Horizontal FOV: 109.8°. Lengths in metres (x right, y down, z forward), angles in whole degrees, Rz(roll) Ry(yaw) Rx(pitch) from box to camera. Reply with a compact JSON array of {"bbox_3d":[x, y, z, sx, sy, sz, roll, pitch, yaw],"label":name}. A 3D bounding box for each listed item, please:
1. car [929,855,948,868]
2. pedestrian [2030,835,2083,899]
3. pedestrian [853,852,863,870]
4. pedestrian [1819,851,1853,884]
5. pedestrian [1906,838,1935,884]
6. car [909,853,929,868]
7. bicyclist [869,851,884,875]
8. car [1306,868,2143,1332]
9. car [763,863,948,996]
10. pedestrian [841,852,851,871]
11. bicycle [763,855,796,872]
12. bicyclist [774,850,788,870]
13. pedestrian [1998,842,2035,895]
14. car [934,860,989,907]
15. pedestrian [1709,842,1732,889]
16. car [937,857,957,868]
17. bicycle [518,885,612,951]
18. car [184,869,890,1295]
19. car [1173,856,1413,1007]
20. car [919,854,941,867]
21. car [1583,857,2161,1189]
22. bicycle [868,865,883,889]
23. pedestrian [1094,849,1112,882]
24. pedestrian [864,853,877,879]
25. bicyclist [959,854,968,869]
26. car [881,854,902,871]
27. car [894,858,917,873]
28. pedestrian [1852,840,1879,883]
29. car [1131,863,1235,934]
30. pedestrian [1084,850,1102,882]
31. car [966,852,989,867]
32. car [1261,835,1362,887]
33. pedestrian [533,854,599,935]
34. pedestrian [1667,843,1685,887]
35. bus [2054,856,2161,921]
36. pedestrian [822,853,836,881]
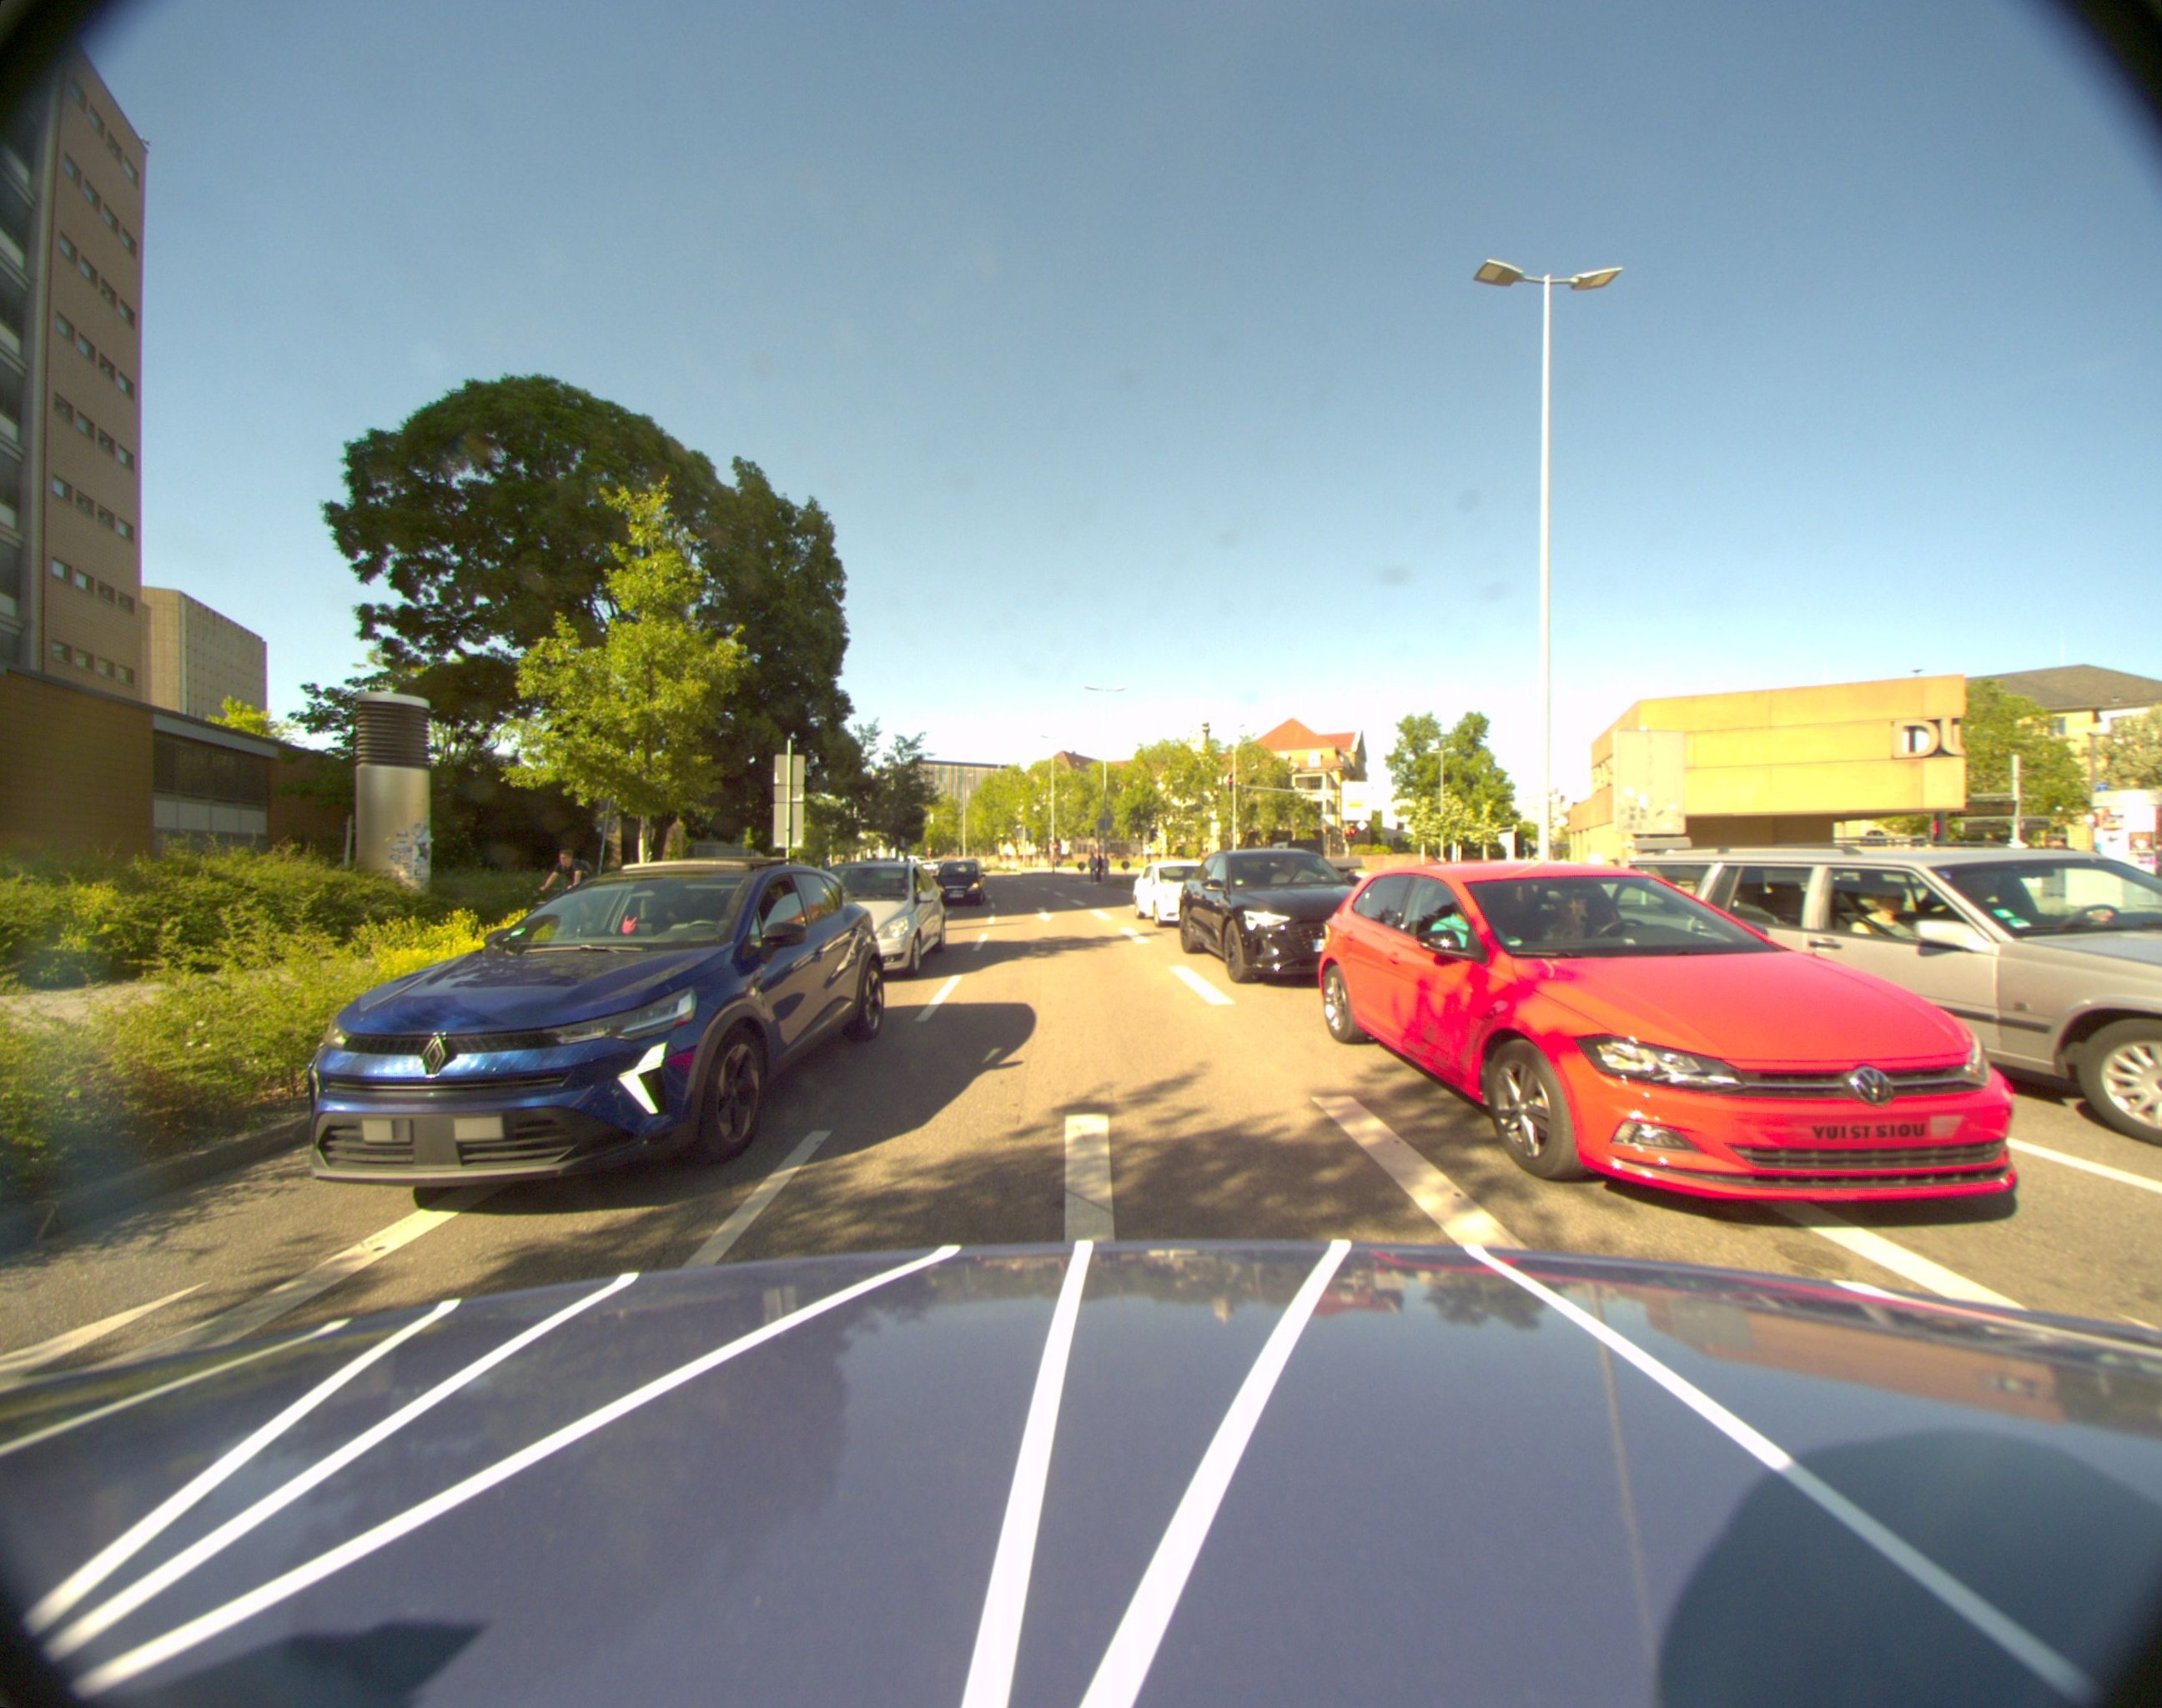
[{"bbox_3d":[-18.539,0.982,98.671,1.598,1.596,3.066,-1,0,-26],"label":"car"},{"bbox_3d":[28.221,0.371,21.988,0.645,1.778,0.667,-2,1,-1],"label":"pedestrian"},{"bbox_3d":[-23.725,0.741,80.821,0.823,1.906,0.770,-2,1,-29],"label":"pedestrian"},{"bbox_3d":[30.181,0.540,30.366,0.645,1.303,0.763,-1,0,10],"label":"pedestrian"},{"bbox_3d":[33.089,0.268,29.953,0.645,1.766,0.468,-1,0,-4],"label":"pedestrian"},{"bbox_3d":[-23.103,0.878,108.134,1.790,2.002,4.223,-2,1,-26],"label":"car"},{"bbox_3d":[-10.907,0.473,40.547,0.723,1.271,0.906,2,0,-17],"label":"bicyclist"},{"bbox_3d":[2.786,0.877,4.529,1.674,1.464,3.853,-2,0,-1],"label":"car"},{"bbox_3d":[-3.173,0.967,11.548,1.786,1.615,4.042,0,0,-3],"label":"car"},{"bbox_3d":[-24.849,0.783,80.407,0.823,1.906,0.770,-2,1,-29],"label":"pedestrian"},{"bbox_3d":[-21.764,0.682,54.811,2.128,1.168,0.763,0,0,-29],"label":"bicycle"},{"bbox_3d":[-21.652,0.425,54.866,0.848,1.465,0.763,-1,0,-28],"label":"bicyclist"},{"bbox_3d":[31.344,0.484,25.458,0.644,1.766,0.469,0,1,21],"label":"pedestrian"},{"bbox_3d":[-4.304,1.015,27.787,1.651,1.601,3.488,0,0,-3],"label":"car"},{"bbox_3d":[24.572,0.429,29.178,0.644,1.766,0.618,0,1,42],"label":"pedestrian"},{"bbox_3d":[-16.375,1.008,92.733,1.587,1.197,3.993,-2,-1,-23],"label":"car"},{"bbox_3d":[-9.335,1.127,13.818,0.517,1.038,1.768,2,0,-1],"label":"bicycle"},{"bbox_3d":[-2.678,0.952,5.062,1.705,1.596,4.084,-1,0,1],"label":"car"},{"bbox_3d":[2.568,0.835,10.420,1.859,1.606,4.452,-1,0,-3],"label":"car"},{"bbox_3d":[-16.717,0.725,84.001,1.754,1.370,3.568,-1,0,-21],"label":"car"},{"bbox_3d":[5.769,0.794,4.920,1.713,1.464,4.750,-1,0,-3],"label":"car"},{"bbox_3d":[-11.023,1.246,40.802,0.693,1.211,1.832,2,0,-17],"label":"bicycle"},{"bbox_3d":[1.251,0.662,43.288,0.757,1.814,0.775,-2,1,-17],"label":"pedestrian"},{"bbox_3d":[-12.948,0.727,46.710,0.694,1.594,0.660,0,0,-25],"label":"pedestrian"},{"bbox_3d":[-12.360,0.804,79.967,0.696,1.549,0.814,-2,1,-23],"label":"bicyclist"},{"bbox_3d":[-21.652,0.958,86.684,1.830,1.842,3.745,0,0,-21],"label":"car"},{"bbox_3d":[-18.598,1.206,80.541,1.754,1.467,3.567,-2,1,-23],"label":"car"},{"bbox_3d":[33.047,0.310,32.016,0.645,1.766,0.468,-1,0,-4],"label":"pedestrian"},{"bbox_3d":[2.268,0.944,17.769,1.575,1.410,3.711,-2,0,-6],"label":"car"},{"bbox_3d":[0.723,0.679,44.516,0.887,1.814,0.776,-2,1,-7],"label":"pedestrian"},{"bbox_3d":[-11.488,0.615,84.265,1.527,1.669,3.374,-2,0,-24],"label":"car"},{"bbox_3d":[11.067,0.328,37.122,2.117,2.300,6.209,-1,0,-10],"label":"car"},{"bbox_3d":[-9.351,0.711,13.827,0.517,1.394,0.961,2,1,-1],"label":"pedestrian"},{"bbox_3d":[23.966,0.448,30.616,0.467,1.766,0.647,0,1,29],"label":"pedestrian"},{"bbox_3d":[21.634,0.658,14.099,1.646,1.234,4.181,-1,0,-5],"label":"bus"},{"bbox_3d":[-14.896,0.761,44.895,0.694,1.594,0.660,0,0,-22],"label":"pedestrian"}]
